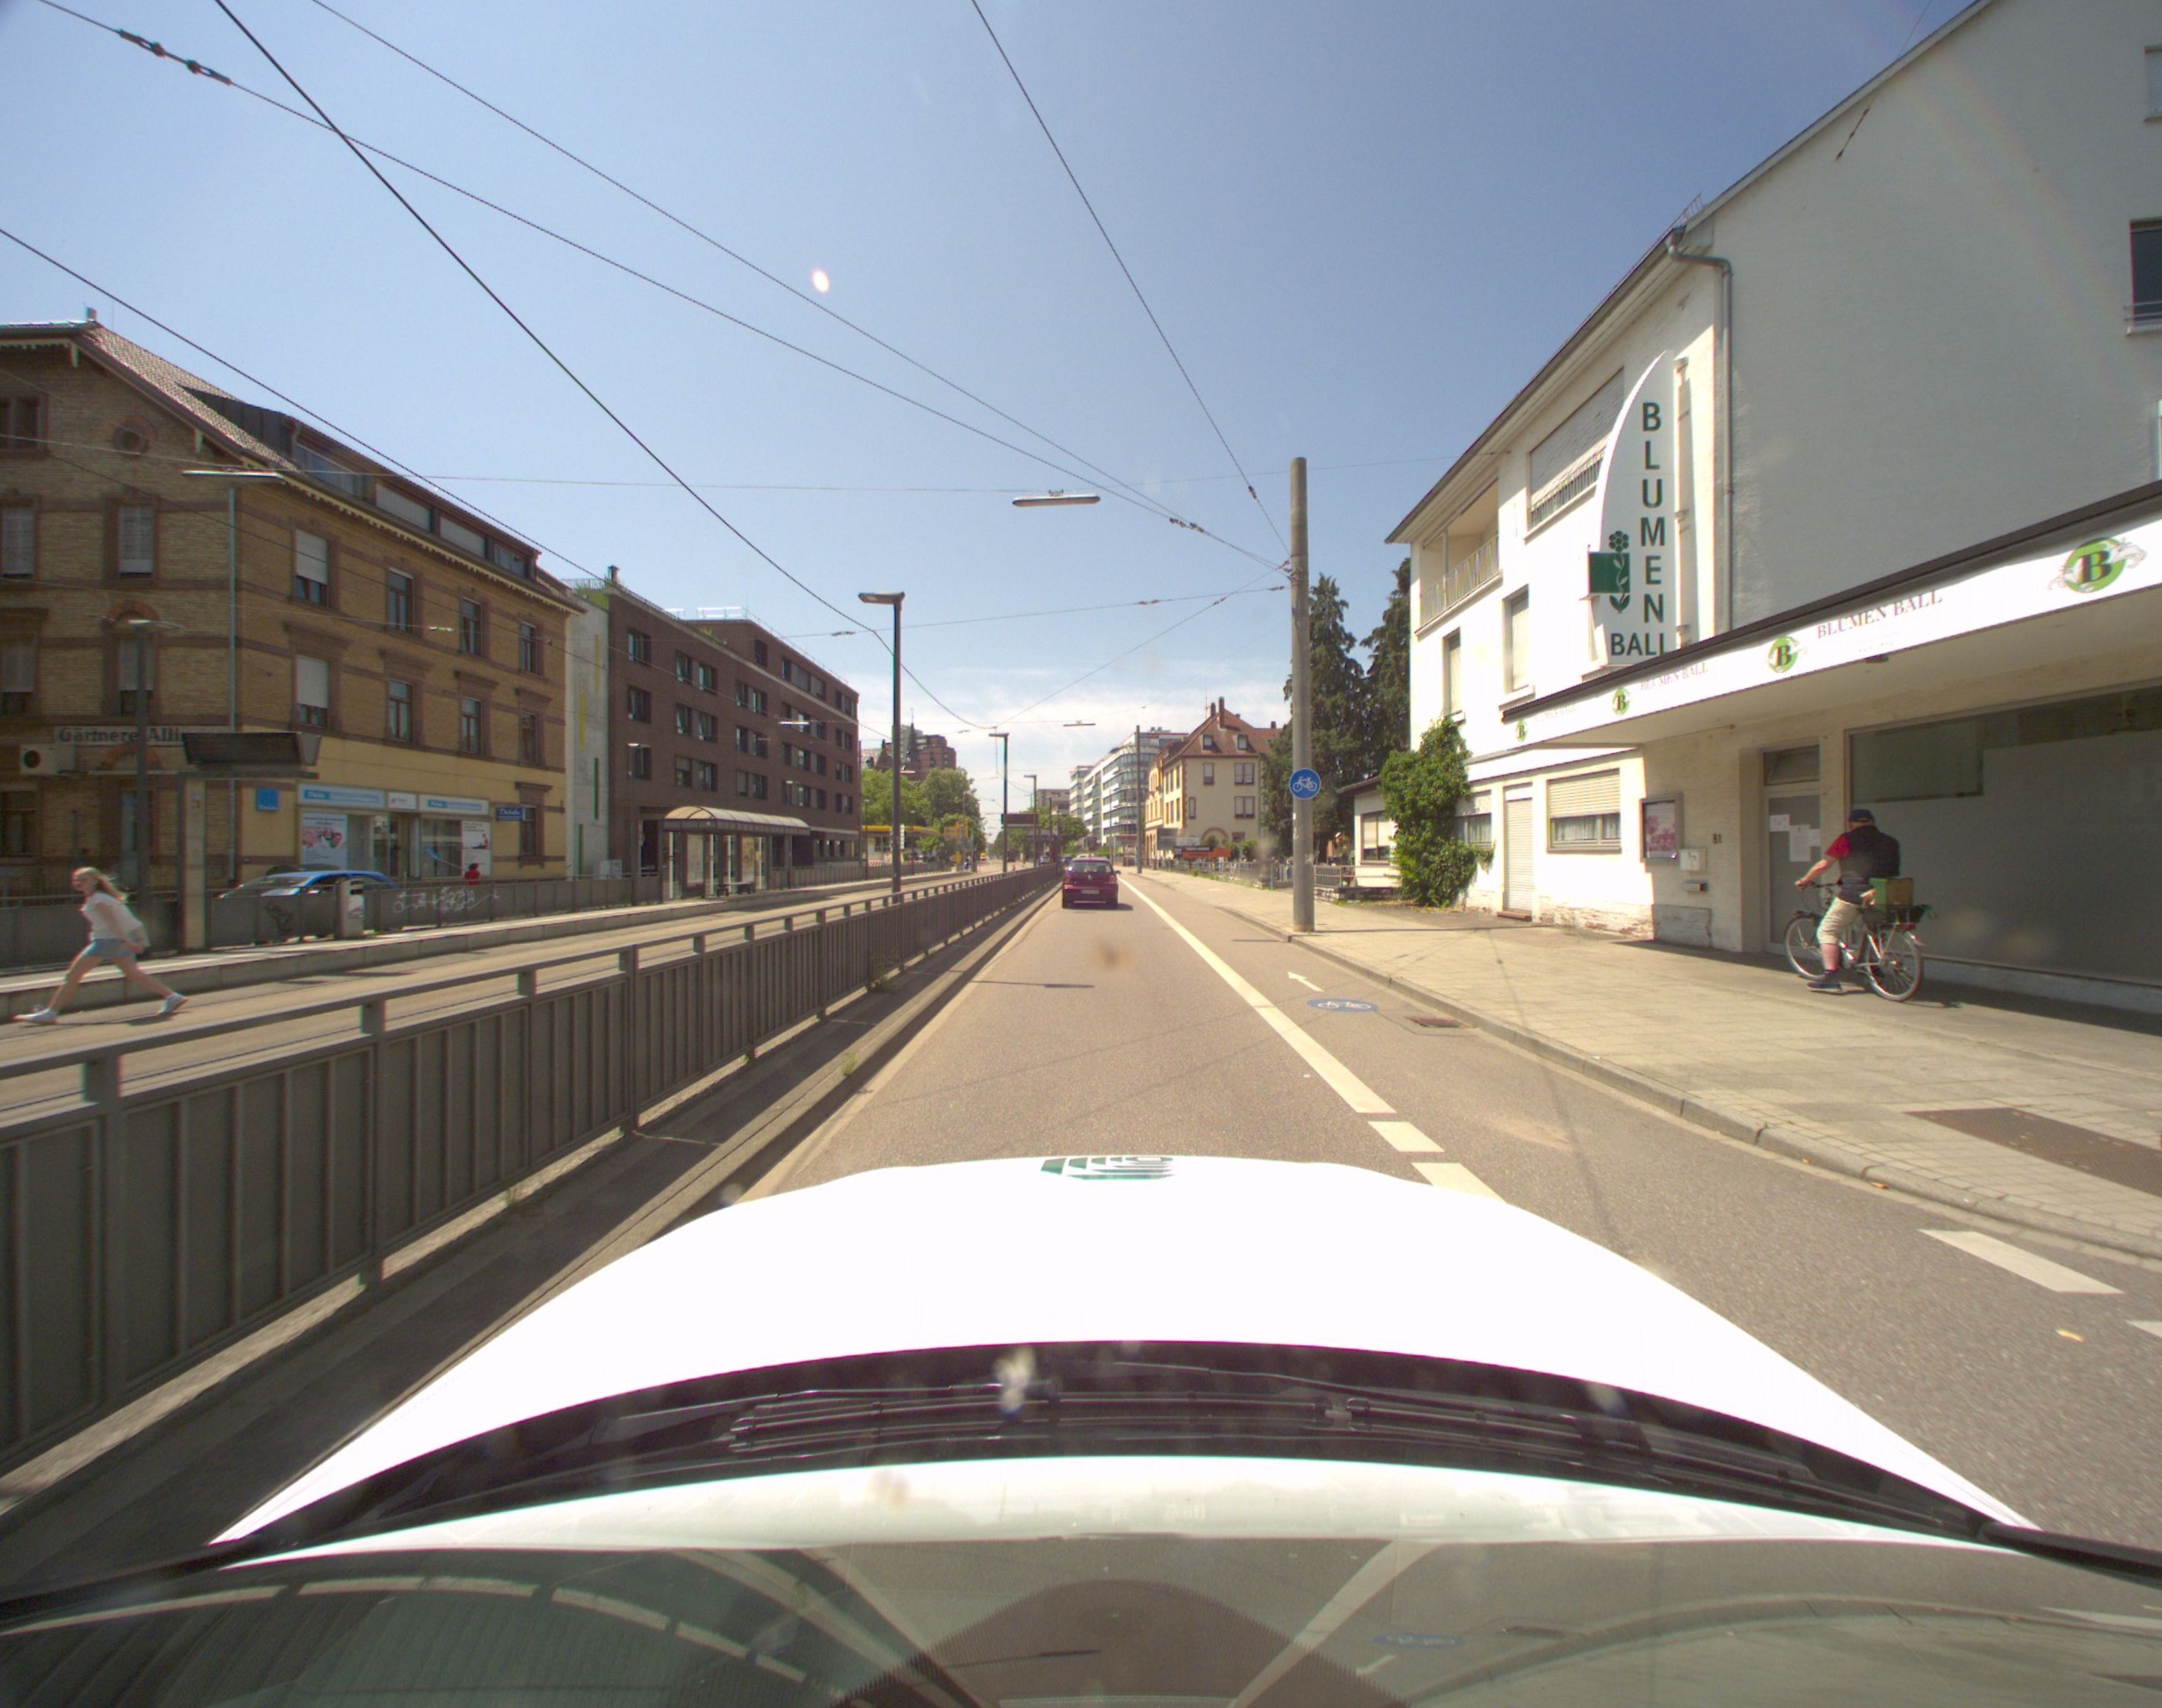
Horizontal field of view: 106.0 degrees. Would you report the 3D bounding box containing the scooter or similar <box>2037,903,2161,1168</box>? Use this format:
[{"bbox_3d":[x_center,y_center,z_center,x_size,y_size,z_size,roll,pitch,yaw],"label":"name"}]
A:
[{"bbox_3d":[5.218,0.841,3.457,0.340,1.178,1.457,-1,0,-23],"label":"scooter or similar"}]

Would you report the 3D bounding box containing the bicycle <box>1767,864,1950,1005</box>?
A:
[{"bbox_3d":[7.674,0.725,8.149,0.373,1.197,1.912,-1,0,12],"label":"bicycle"}]

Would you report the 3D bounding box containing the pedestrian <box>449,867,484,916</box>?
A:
[{"bbox_3d":[-20.045,1.222,26.592,0.612,1.560,0.640,-1,0,0],"label":"pedestrian"}]

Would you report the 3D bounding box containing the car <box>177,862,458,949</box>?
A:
[{"bbox_3d":[-15.799,0.986,17.215,1.985,1.508,4.004,-1,1,3],"label":"car"}]

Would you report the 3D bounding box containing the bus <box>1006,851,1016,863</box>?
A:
[{"bbox_3d":[-18.521,0.765,215.789,2.145,3.003,6.550,-1,0,-10],"label":"bus"}]

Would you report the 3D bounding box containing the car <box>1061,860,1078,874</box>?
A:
[{"bbox_3d":[-1.418,1.613,102.599,1.987,1.624,4.630,-1,0,-1],"label":"car"}]

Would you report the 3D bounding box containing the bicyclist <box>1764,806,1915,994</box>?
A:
[{"bbox_3d":[7.549,0.428,8.155,0.722,1.760,0.927,-1,0,13],"label":"bicyclist"}]

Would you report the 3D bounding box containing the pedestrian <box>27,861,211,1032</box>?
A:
[{"bbox_3d":[-10.242,0.920,8.705,0.756,1.674,1.107,-1,0,26],"label":"pedestrian"}]

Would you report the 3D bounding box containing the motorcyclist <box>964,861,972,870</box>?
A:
[{"bbox_3d":[-13.911,1.428,100.286,0.846,1.139,0.634,-1,0,1],"label":"motorcyclist"}]

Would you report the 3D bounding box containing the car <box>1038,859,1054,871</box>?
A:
[{"bbox_3d":[-5.678,1.731,131.812,1.995,1.848,3.983,-1,1,-12],"label":"car"}]

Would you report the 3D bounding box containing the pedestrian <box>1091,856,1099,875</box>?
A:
[{"bbox_3d":[1.380,1.118,80.211,0.742,1.836,0.791,-1,0,-2],"label":"pedestrian"}]

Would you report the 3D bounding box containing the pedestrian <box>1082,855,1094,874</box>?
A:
[{"bbox_3d":[0.693,1.065,81.991,1.166,1.836,0.791,-1,0,-2],"label":"pedestrian"}]

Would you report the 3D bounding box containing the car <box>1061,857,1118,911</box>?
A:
[{"bbox_3d":[0.262,0.831,24.142,1.556,1.453,3.062,-1,0,0],"label":"car"}]

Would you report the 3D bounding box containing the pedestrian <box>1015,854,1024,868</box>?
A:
[{"bbox_3d":[-8.639,0.952,114.605,1.105,2.014,1.039,-1,0,2],"label":"pedestrian"}]
